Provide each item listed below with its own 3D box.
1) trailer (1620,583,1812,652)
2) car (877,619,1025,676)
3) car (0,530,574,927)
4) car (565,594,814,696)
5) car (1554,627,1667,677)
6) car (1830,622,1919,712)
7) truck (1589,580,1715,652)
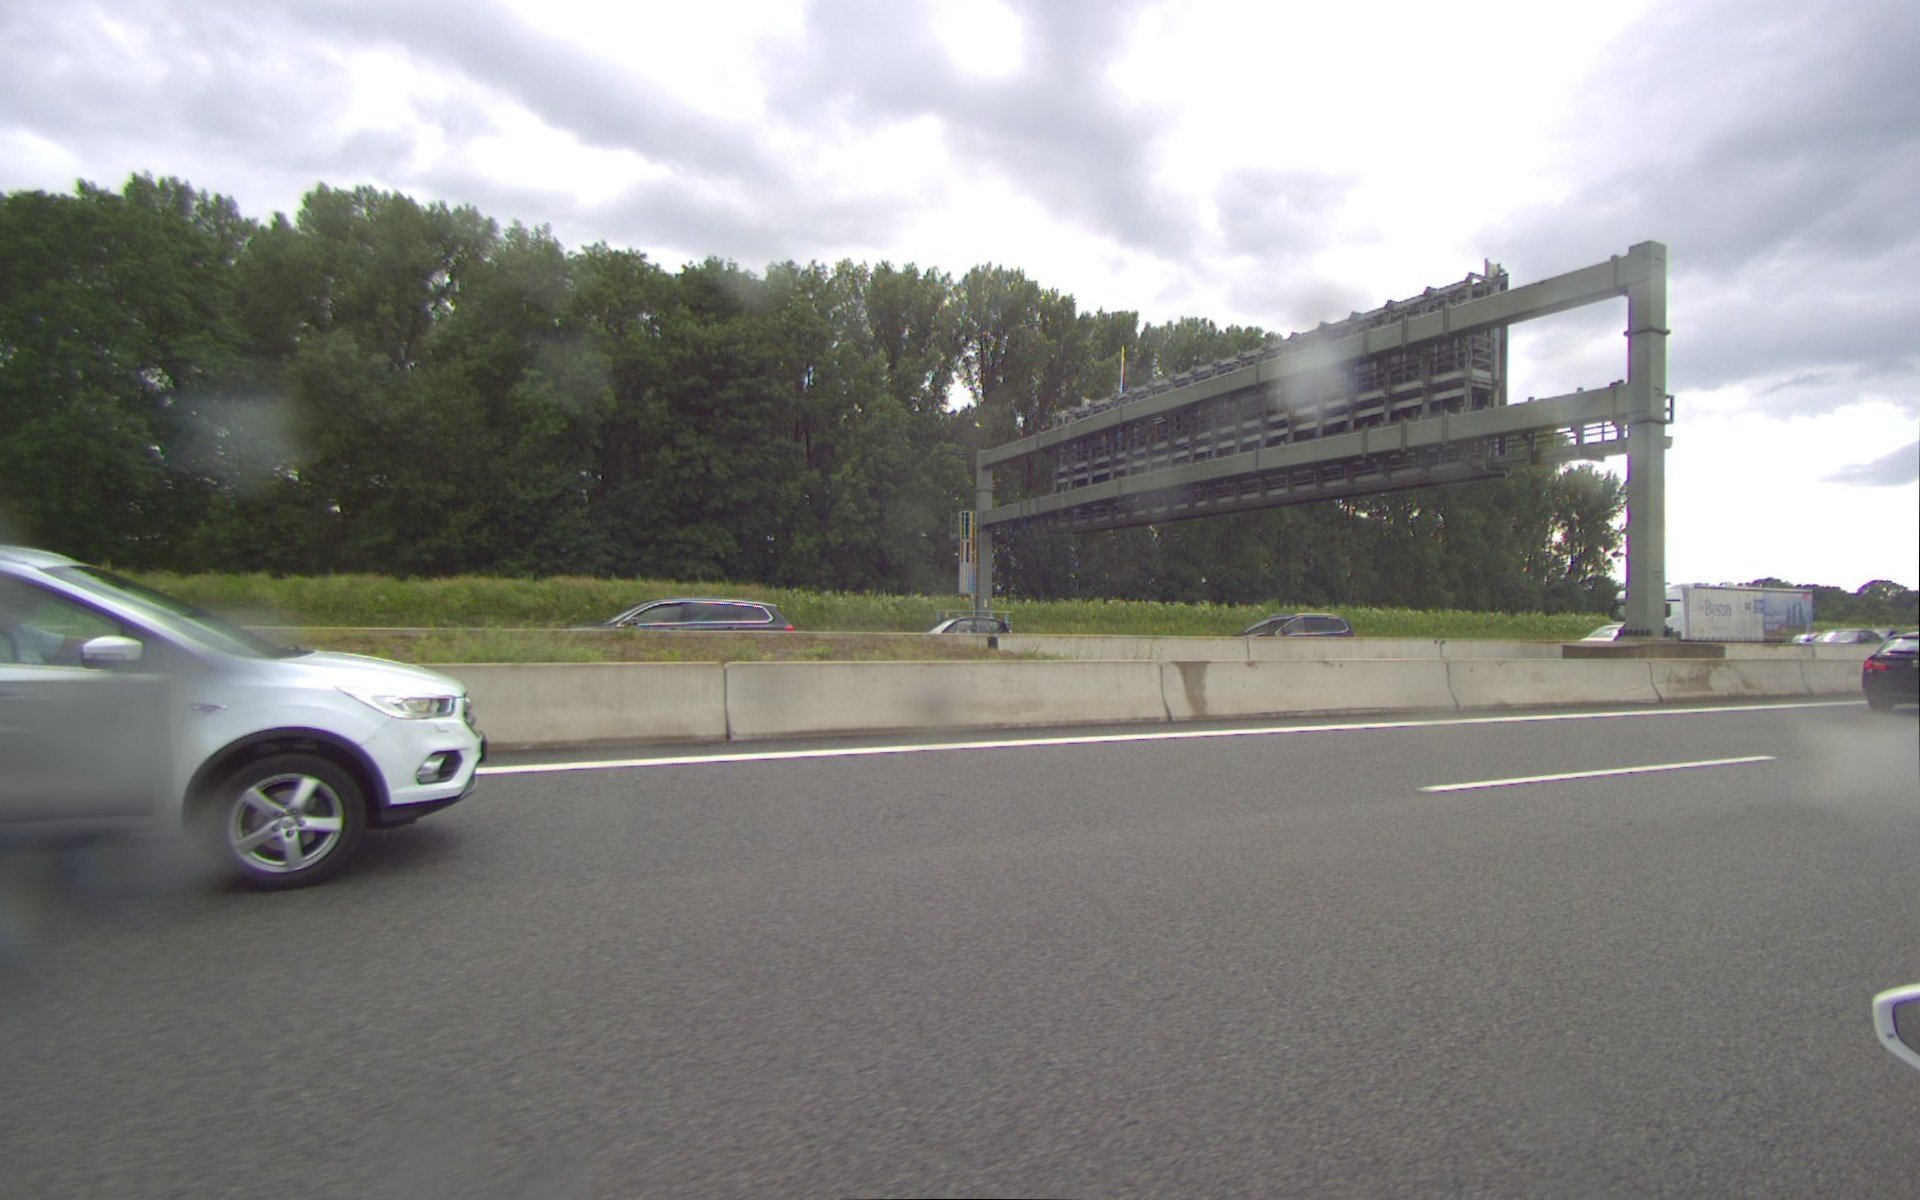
[{"bbox_3d":[42.881,1.063,56.720,14.276,3.554,3.096,2,0,-29],"label":"trailer"},{"bbox_3d":[-0.246,1.368,29.276,3.968,1.518,1.746,2,0,-29],"label":"car"},{"bbox_3d":[-4.647,0.555,5.090,4.795,1.712,1.806,1,-1,-31],"label":"car"},{"bbox_3d":[-4.796,0.776,17.882,3.951,1.636,1.789,2,0,-29],"label":"car"},{"bbox_3d":[24.958,1.973,38.546,3.968,1.750,1.985,2,0,-29],"label":"car"},{"bbox_3d":[18.153,1.213,18.409,4.294,1.501,1.775,2,0,-26],"label":"car"},{"bbox_3d":[36.707,0.865,53.283,6.026,3.554,3.122,2,0,-29],"label":"truck"}]
